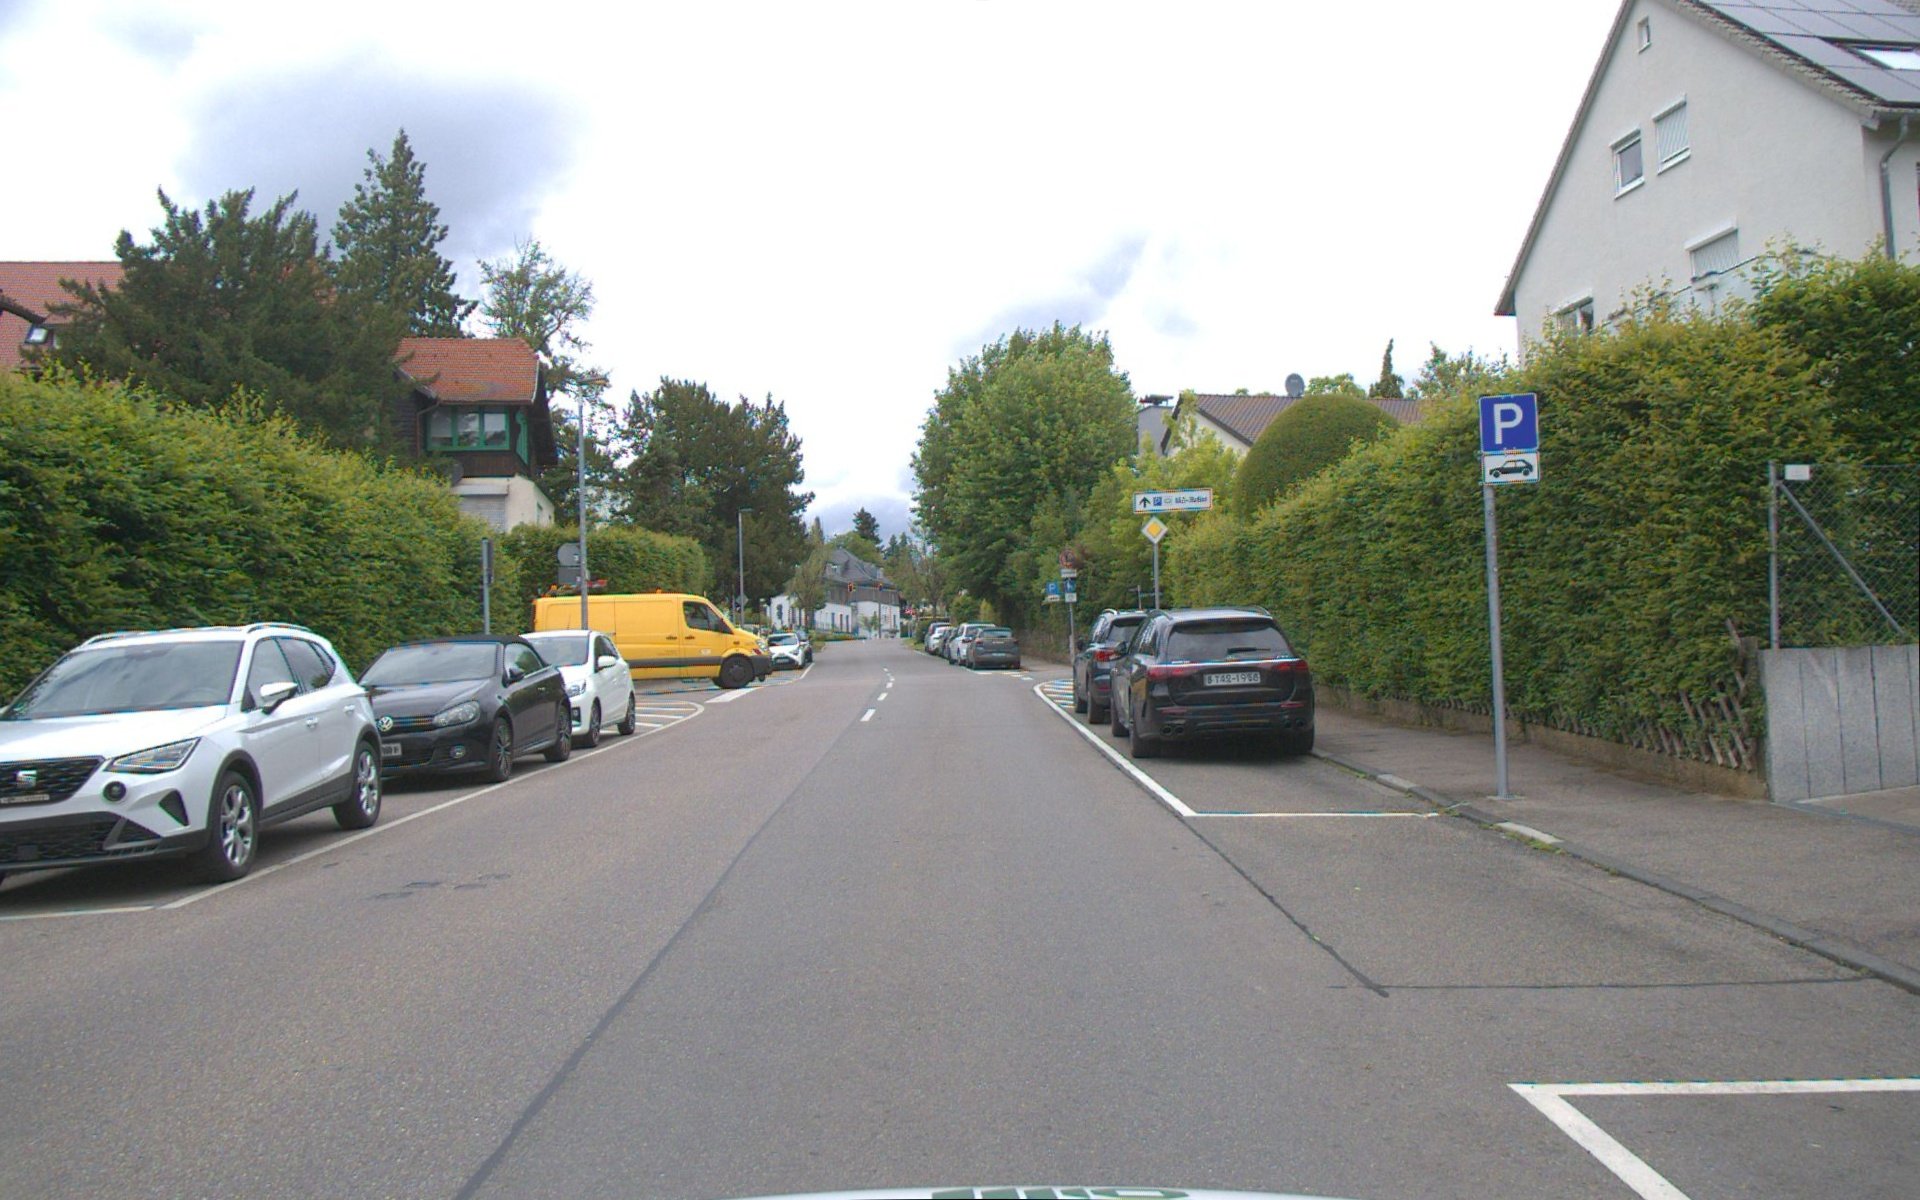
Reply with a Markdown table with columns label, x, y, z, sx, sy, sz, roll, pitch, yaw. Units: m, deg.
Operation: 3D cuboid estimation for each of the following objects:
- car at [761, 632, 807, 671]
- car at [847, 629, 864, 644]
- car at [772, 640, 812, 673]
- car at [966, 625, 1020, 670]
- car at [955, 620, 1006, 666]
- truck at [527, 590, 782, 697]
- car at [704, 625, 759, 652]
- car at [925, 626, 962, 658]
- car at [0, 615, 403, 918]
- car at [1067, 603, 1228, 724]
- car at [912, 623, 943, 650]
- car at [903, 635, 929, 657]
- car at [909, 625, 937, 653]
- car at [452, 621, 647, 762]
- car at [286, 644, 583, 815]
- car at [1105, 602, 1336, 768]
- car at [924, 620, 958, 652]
| label | x | y | z | sx | sy | sz | roll | pitch | yaw |
| --- | --- | --- | --- | --- | --- | --- | --- | --- | --- |
| car | -7.116 | 2.055 | 66.611 | 1.634 | 1.424 | 3.459 | -2 | 0 | -9 |
| car | -11.444 | 3.985 | 181.148 | 1.787 | 1.445 | 3.996 | -2 | -1 | -4 |
| car | -8.016 | 2.664 | 78.871 | 1.634 | 1.424 | 3.459 | -2 | 0 | -9 |
| car | 1.199 | 1.734 | 61.116 | 1.632 | 1.527 | 3.464 | -2 | 0 | -5 |
| car | 0.781 | 1.685 | 65.878 | 1.680 | 1.686 | 3.618 | -2 | 0 | -5 |
| truck | -7.537 | 1.078 | 40.586 | 5.840 | 2.349 | 2.810 | -1 | -4 | -18 |
| car | -16.301 | 2.732 | 118.027 | 3.773 | 1.767 | 1.639 | -2 | -1 | -9 |
| car | -0.887 | 2.152 | 85.772 | 1.632 | 1.527 | 3.464 | -2 | 0 | -5 |
| car | -5.140 | 0.931 | 10.889 | 1.688 | 1.567 | 3.997 | -3 | 0 | -3 |
| car | 2.622 | 0.851 | 24.068 | 1.844 | 1.560 | 4.475 | -1 | 0 | 0 |
| car | -1.966 | 2.214 | 99.760 | 1.632 | 1.527 | 3.464 | -2 | 0 | -5 |
| car | -3.099 | 3.219 | 116.574 | 1.611 | 1.396 | 3.464 | -2 | 0 | -5 |
| car | -2.413 | 2.536 | 107.875 | 1.611 | 1.697 | 3.464 | -2 | 0 | -5 |
| car | -5.307 | 1.125 | 21.813 | 1.597 | 1.549 | 3.637 | -4 | 0 | -1 |
| car | -5.210 | 1.237 | 16.962 | 1.727 | 1.412 | 3.999 | -4 | -2 | -1 |
| car | 2.696 | 0.827 | 18.128 | 1.844 | 1.560 | 4.475 | -1 | 0 | 0 |
| car | -1.108 | 2.010 | 92.757 | 1.632 | 1.697 | 3.464 | -2 | 0 | -5 |
